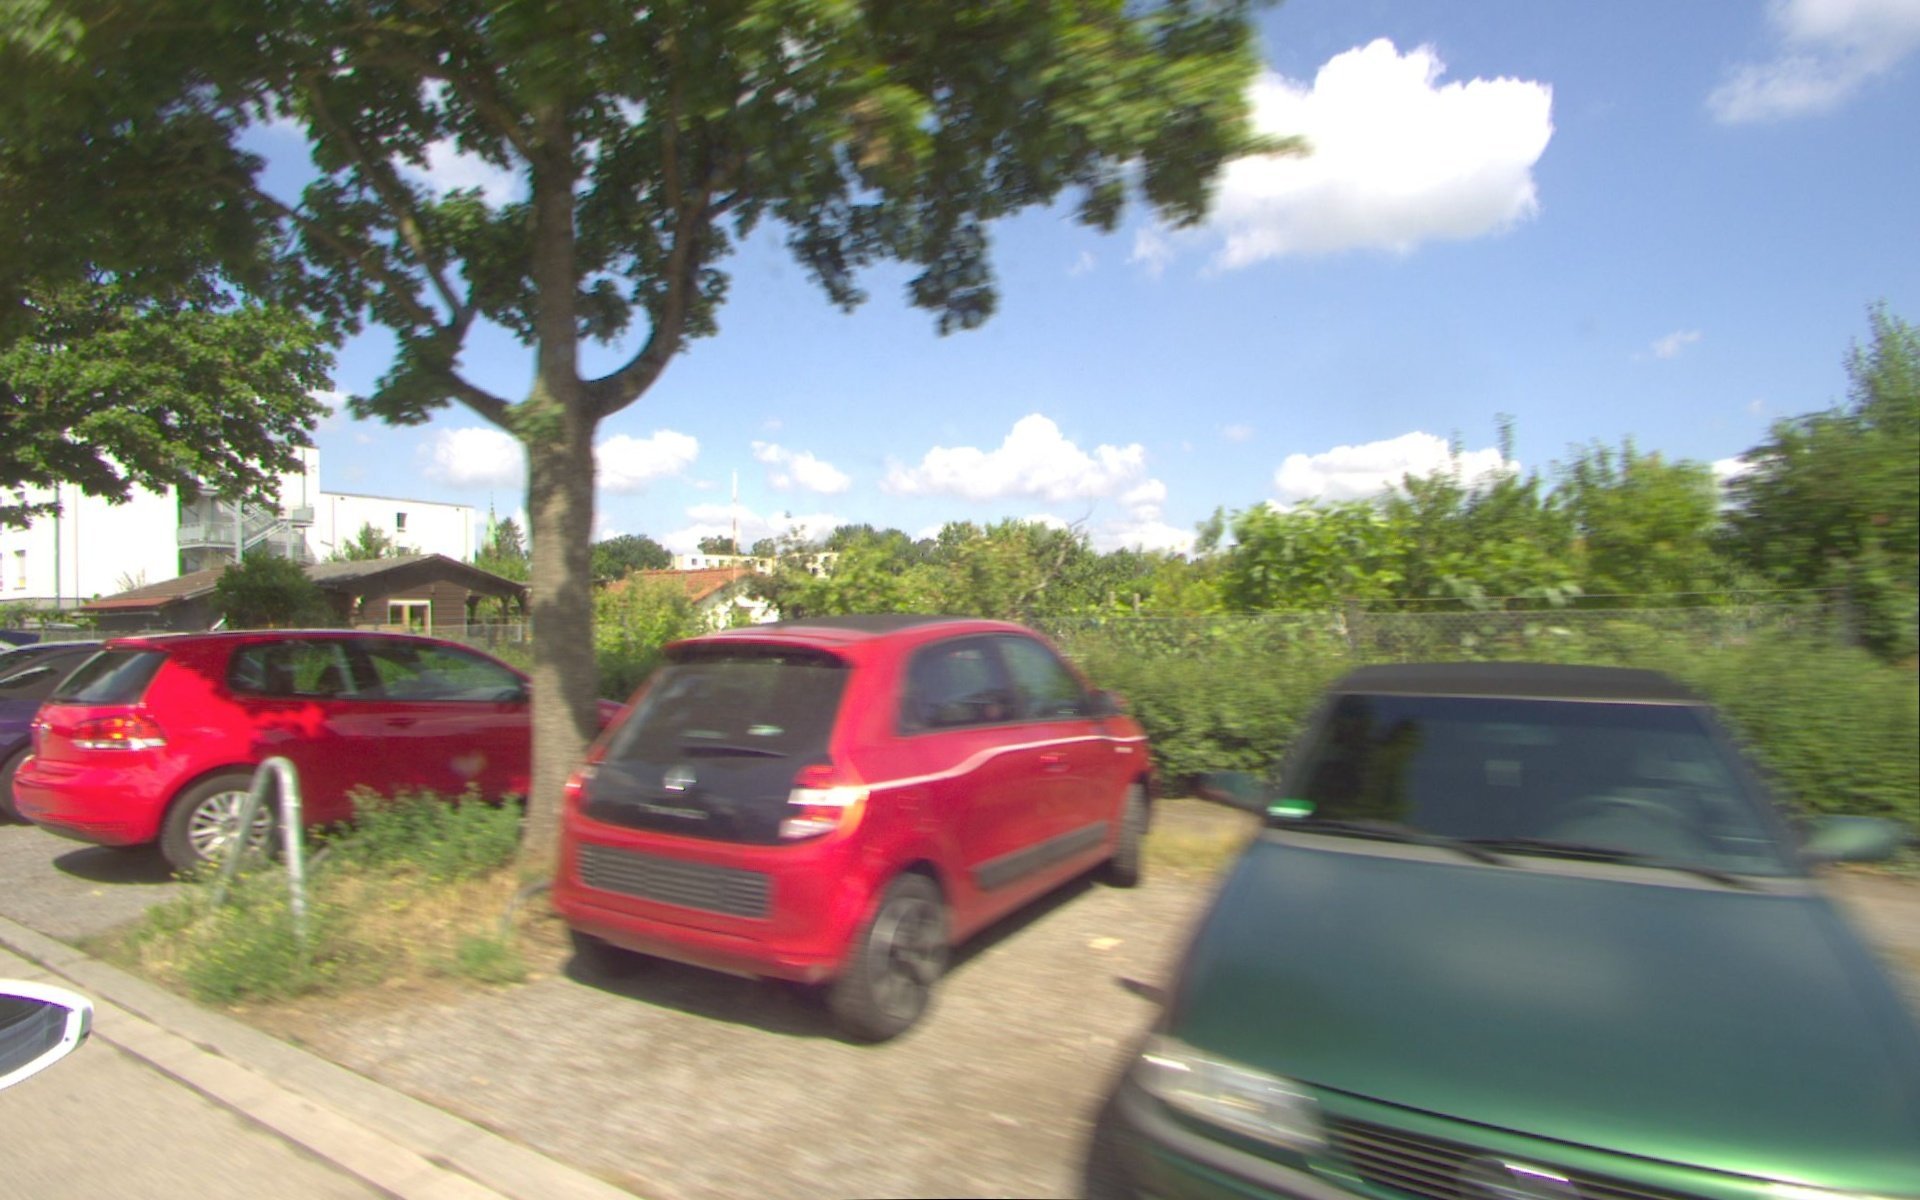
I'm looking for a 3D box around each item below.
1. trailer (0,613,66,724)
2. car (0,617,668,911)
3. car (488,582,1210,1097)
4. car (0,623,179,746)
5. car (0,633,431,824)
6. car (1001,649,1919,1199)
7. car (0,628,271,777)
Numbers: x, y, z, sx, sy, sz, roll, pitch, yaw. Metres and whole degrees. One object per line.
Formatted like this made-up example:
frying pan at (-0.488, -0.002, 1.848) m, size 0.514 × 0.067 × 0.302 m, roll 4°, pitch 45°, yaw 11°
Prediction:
trailer at (-15.984, 1.064, 15.779) m, size 1.495 × 1.742 × 2.449 m, roll 0°, pitch -2°, yaw 28°
car at (-4.368, 0.957, 7.421) m, size 1.830 × 1.538 × 3.977 m, roll -2°, pitch -3°, yaw 35°
car at (-0.170, 0.839, 5.214) m, size 1.843 × 1.593 × 3.760 m, roll -1°, pitch -3°, yaw 31°
car at (-12.889, 1.074, 12.921) m, size 1.931 × 1.530 × 4.055 m, roll -2°, pitch -3°, yaw 35°
car at (-7.325, 1.048, 9.224) m, size 1.931 × 1.441 × 3.901 m, roll -2°, pitch -3°, yaw 35°
car at (1.897, 0.900, 3.449) m, size 1.879 × 1.446 × 4.237 m, roll -1°, pitch -3°, yaw 28°
car at (-10.072, 1.049, 10.717) m, size 1.842 × 1.473 × 4.063 m, roll -1°, pitch -3°, yaw 29°
